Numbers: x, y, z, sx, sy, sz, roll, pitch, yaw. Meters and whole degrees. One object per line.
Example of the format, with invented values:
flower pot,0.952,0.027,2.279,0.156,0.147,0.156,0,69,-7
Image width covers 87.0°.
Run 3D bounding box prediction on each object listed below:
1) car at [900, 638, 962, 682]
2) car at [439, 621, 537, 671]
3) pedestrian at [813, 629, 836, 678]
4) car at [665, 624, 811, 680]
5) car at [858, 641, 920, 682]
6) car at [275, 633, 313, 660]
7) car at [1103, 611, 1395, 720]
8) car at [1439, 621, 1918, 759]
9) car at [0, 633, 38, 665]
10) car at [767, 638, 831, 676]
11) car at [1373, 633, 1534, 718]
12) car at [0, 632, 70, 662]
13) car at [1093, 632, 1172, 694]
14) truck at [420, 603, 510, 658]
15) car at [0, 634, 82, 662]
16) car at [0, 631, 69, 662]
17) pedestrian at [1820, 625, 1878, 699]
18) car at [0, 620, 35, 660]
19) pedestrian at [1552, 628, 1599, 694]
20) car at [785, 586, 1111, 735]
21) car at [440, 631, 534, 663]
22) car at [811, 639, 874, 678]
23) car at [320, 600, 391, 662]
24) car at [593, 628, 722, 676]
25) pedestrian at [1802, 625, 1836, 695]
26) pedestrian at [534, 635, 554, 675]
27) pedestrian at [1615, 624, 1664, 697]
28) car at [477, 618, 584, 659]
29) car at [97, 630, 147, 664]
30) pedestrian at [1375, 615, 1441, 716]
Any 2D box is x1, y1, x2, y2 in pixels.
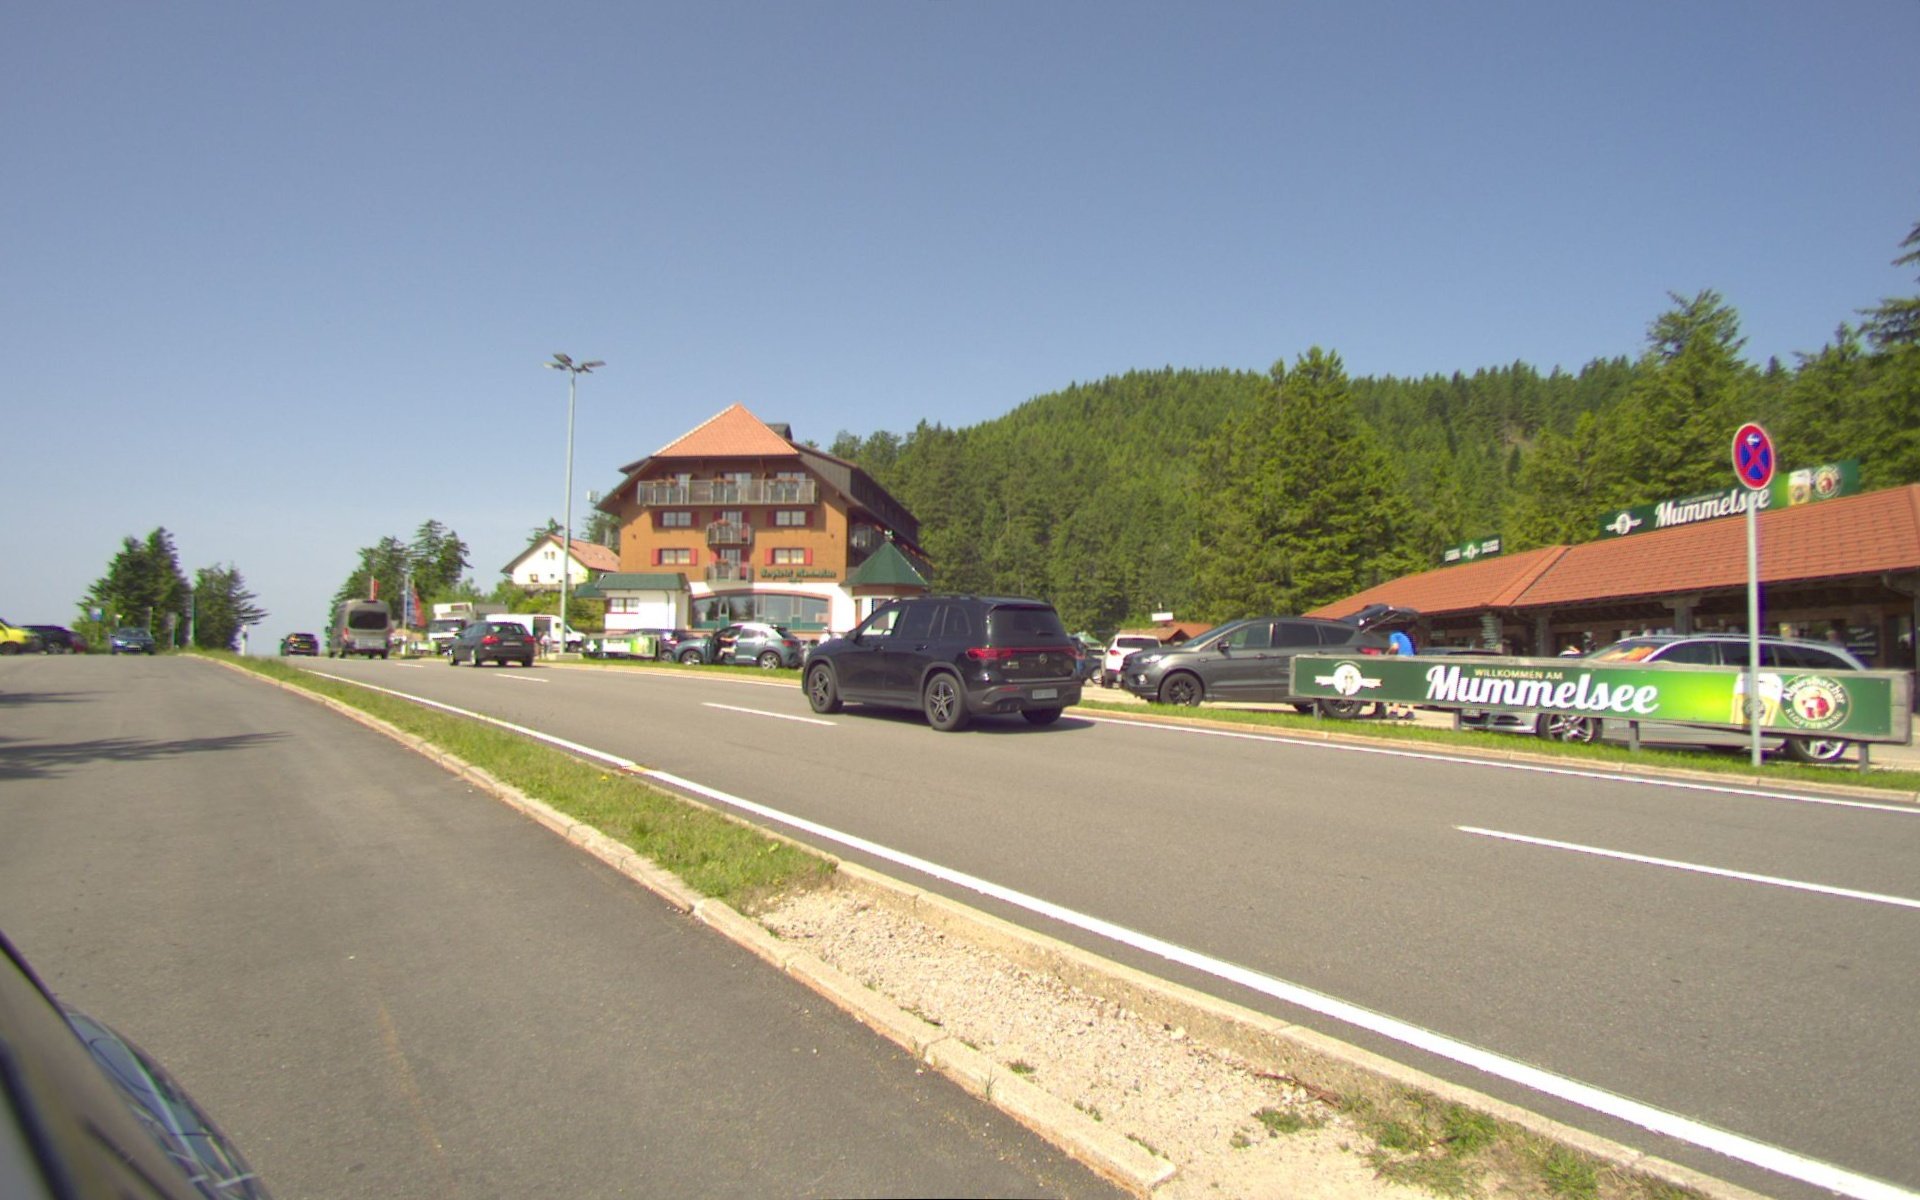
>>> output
car,-1.023,2.199,37.616,1.801,1.524,4.088,1,-2,5
car,-15.052,1.431,32.155,1.684,1.449,4.457,3,-3,-40
pedestrian,-4.629,1.817,34.546,0.734,1.637,0.684,1,-2,-10
car,-7.053,1.653,32.448,4.215,1.641,1.822,1,-2,3
car,-2.788,2.439,40.581,1.801,1.524,4.088,1,-2,5
car,-45.511,3.158,69.146,1.695,1.695,4.137,2,-3,-40
car,4.840,1.102,17.401,4.490,1.668,1.721,1,-2,2
car,8.464,1.038,12.269,4.444,1.441,1.720,1,-2,4
car,-49.955,2.477,51.808,3.849,1.627,1.880,3,-3,-38
car,-6.986,2.466,44.354,1.801,1.524,4.088,1,-2,5
car,11.260,1.676,23.431,1.895,1.729,4.090,1,-2,3
car,-52.572,2.641,56.730,3.849,1.627,1.880,3,-3,-38
car,5.169,1.878,30.843,1.895,1.729,4.090,1,-2,3
truck,-37.202,2.356,76.483,2.842,3.850,9.021,-1,-2,-3
car,-54.830,2.852,60.127,3.849,1.627,1.880,3,-3,-38
car,-50.895,2.488,54.728,3.849,1.627,1.880,3,-3,-38
pedestrian,21.587,1.485,24.590,0.742,1.750,0.800,0,-2,13
car,-48.081,1.915,49.191,4.388,1.940,1.880,3,-3,-38
pedestrian,19.475,1.910,32.030,0.844,2.029,0.965,1,-2,-2
car,-0.343,0.748,13.679,1.968,1.660,4.575,3,-3,-39
car,-24.657,2.463,52.863,4.036,1.539,1.824,1,-2,-1
car,-4.876,2.419,42.465,1.801,1.524,4.088,1,-2,5
car,-29.159,1.490,48.724,1.986,2.772,5.927,3,-3,-39
car,-11.156,1.904,37.505,4.215,1.641,1.822,1,-2,3
pedestrian,21.748,1.512,25.618,0.662,1.750,0.556,3,-3,-42
pedestrian,-21.716,2.855,52.863,0.706,2.029,0.804,2,-3,-41
pedestrian,19.267,1.710,28.711,0.713,2.029,0.928,1,-2,-3
car,-30.716,2.769,72.644,6.845,2.812,2.675,2,-2,-21
car,-43.225,2.410,52.225,1.847,1.627,3.919,3,-3,-40
pedestrian,7.525,1.089,17.032,0.736,1.648,0.847,1,-2,0
